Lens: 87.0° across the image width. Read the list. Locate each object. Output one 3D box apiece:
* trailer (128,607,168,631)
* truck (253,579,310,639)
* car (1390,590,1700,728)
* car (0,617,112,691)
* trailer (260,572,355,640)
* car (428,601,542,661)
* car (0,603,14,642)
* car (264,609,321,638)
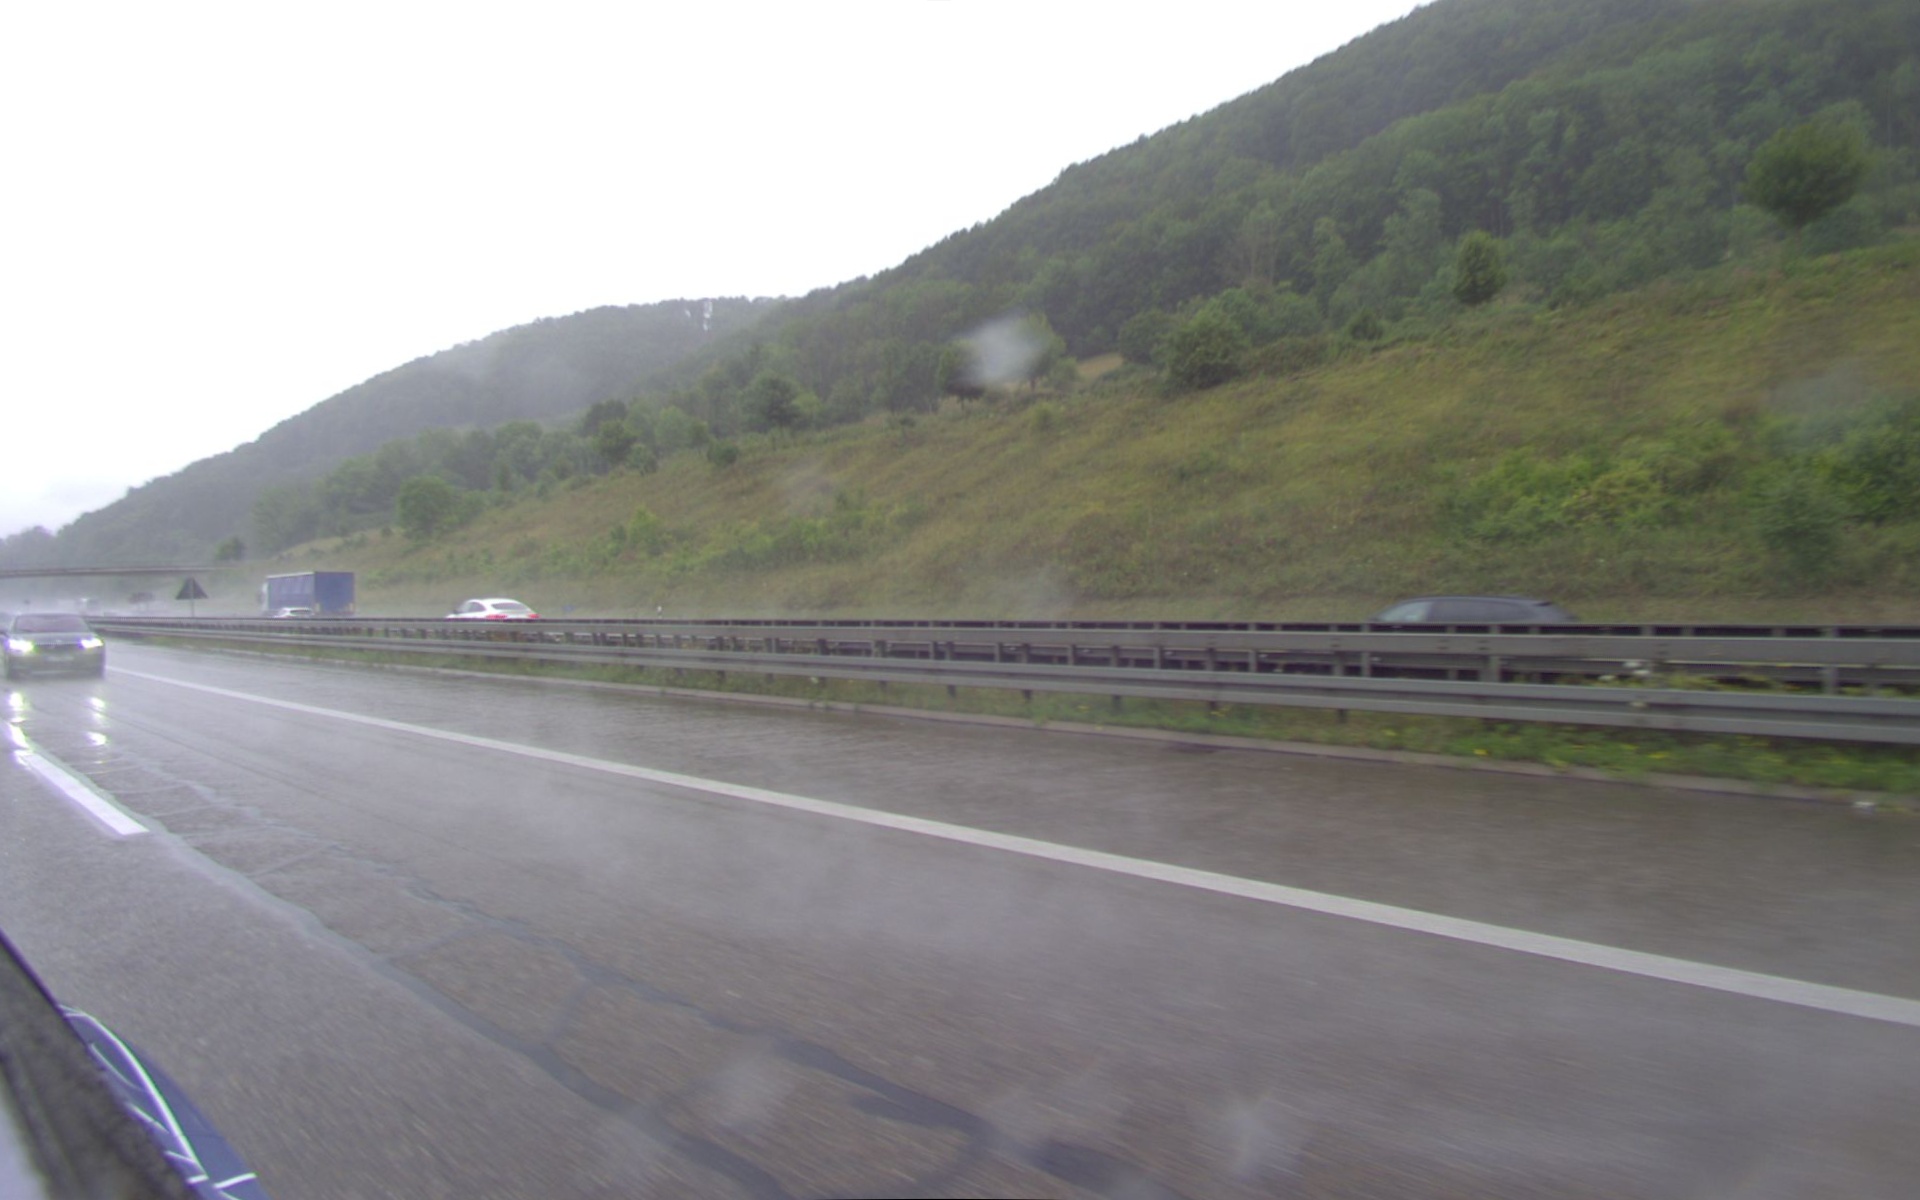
[{"bbox_3d":[-113.203,2.631,140.966,2.781,3.076,14.907,-1,0,-45],"label":"trailer"},{"bbox_3d":[-54.823,0.703,81.731,5.156,4.708,2.660,-1,0,43],"label":"truck"},{"bbox_3d":[9.214,0.857,16.119,3.999,1.921,1.771,-1,-1,42],"label":"car"},{"bbox_3d":[-23.126,1.278,25.644,4.910,1.696,1.971,-1,-2,44],"label":"car"},{"bbox_3d":[-49.859,0.493,77.055,14.043,4.822,2.706,-1,0,43],"label":"trailer"},{"bbox_3d":[-17.391,1.109,36.894,5.391,2.029,1.971,-1,-1,44],"label":"car"},{"bbox_3d":[-44.613,1.031,46.222,3.748,1.715,1.790,-1,0,42],"label":"car"},{"bbox_3d":[-43.067,1.518,65.248,4.658,1.758,1.972,-1,0,42],"label":"car"}]
